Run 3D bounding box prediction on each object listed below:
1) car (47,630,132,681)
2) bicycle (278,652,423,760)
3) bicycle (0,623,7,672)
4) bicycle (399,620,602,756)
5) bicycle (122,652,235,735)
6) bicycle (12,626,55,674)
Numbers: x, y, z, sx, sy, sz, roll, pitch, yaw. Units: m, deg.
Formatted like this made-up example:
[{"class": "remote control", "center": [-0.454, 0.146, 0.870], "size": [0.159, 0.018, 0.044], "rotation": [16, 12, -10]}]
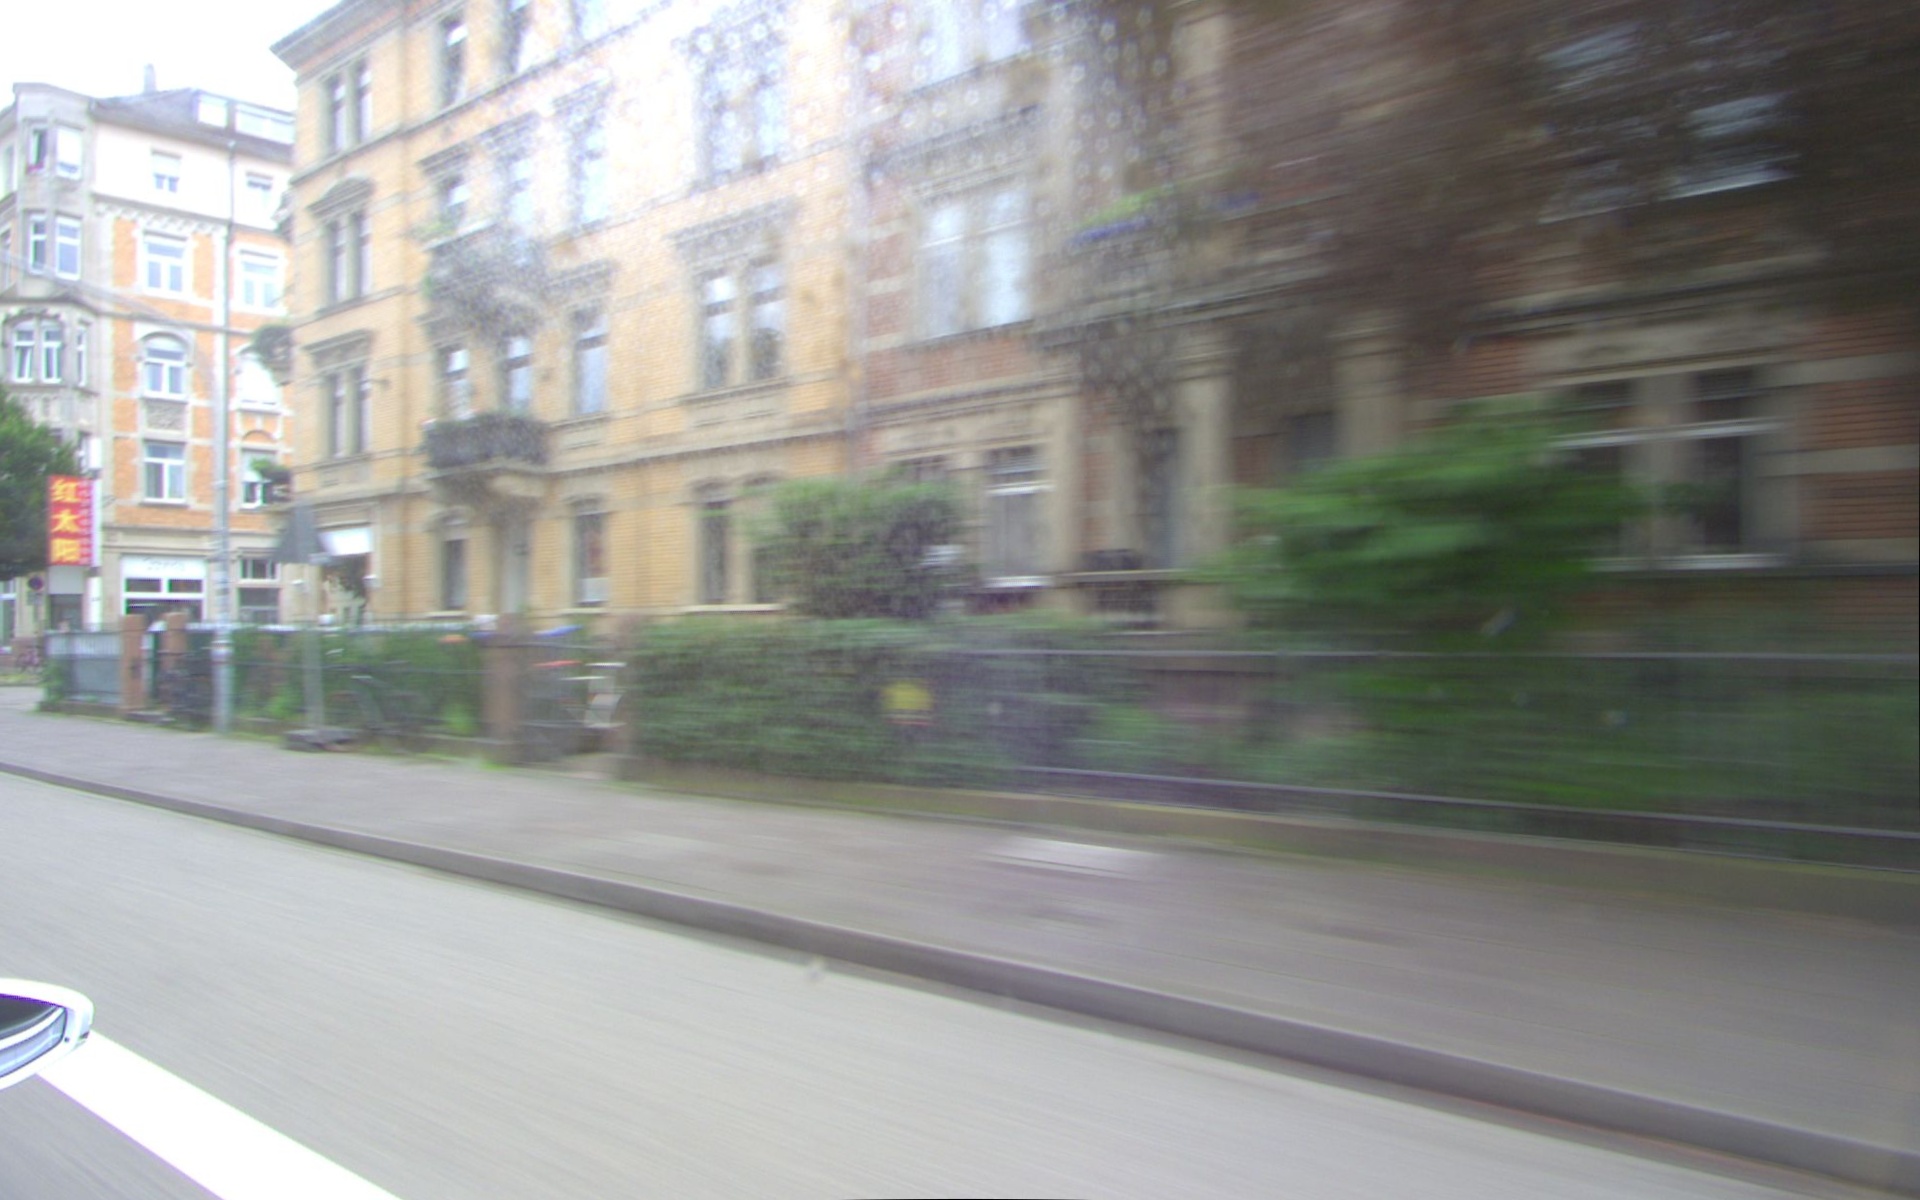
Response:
[{"class": "car", "center": [-27.932, 1.743, 32.248], "size": [1.895, 1.503, 4.136], "rotation": [2, -3, -39]}, {"class": "bicycle", "center": [-7.084, 1.184, 11.591], "size": [2.145, 1.114, 0.522], "rotation": [-1, 0, 32]}, {"class": "bicycle", "center": [-31.294, 1.512, 32.190], "size": [0.784, 1.526, 2.360], "rotation": [2, -2, -40]}, {"class": "bicycle", "center": [-6.075, 1.084, 13.161], "size": [2.921, 1.623, 0.989], "rotation": [-1, -2, 33]}, {"class": "bicycle", "center": [-11.052, 1.286, 14.138], "size": [2.145, 1.044, 0.522], "rotation": [-1, 2, 32]}, {"class": "bicycle", "center": [-30.222, 1.608, 32.681], "size": [0.910, 1.526, 2.360], "rotation": [2, -2, -40]}]
